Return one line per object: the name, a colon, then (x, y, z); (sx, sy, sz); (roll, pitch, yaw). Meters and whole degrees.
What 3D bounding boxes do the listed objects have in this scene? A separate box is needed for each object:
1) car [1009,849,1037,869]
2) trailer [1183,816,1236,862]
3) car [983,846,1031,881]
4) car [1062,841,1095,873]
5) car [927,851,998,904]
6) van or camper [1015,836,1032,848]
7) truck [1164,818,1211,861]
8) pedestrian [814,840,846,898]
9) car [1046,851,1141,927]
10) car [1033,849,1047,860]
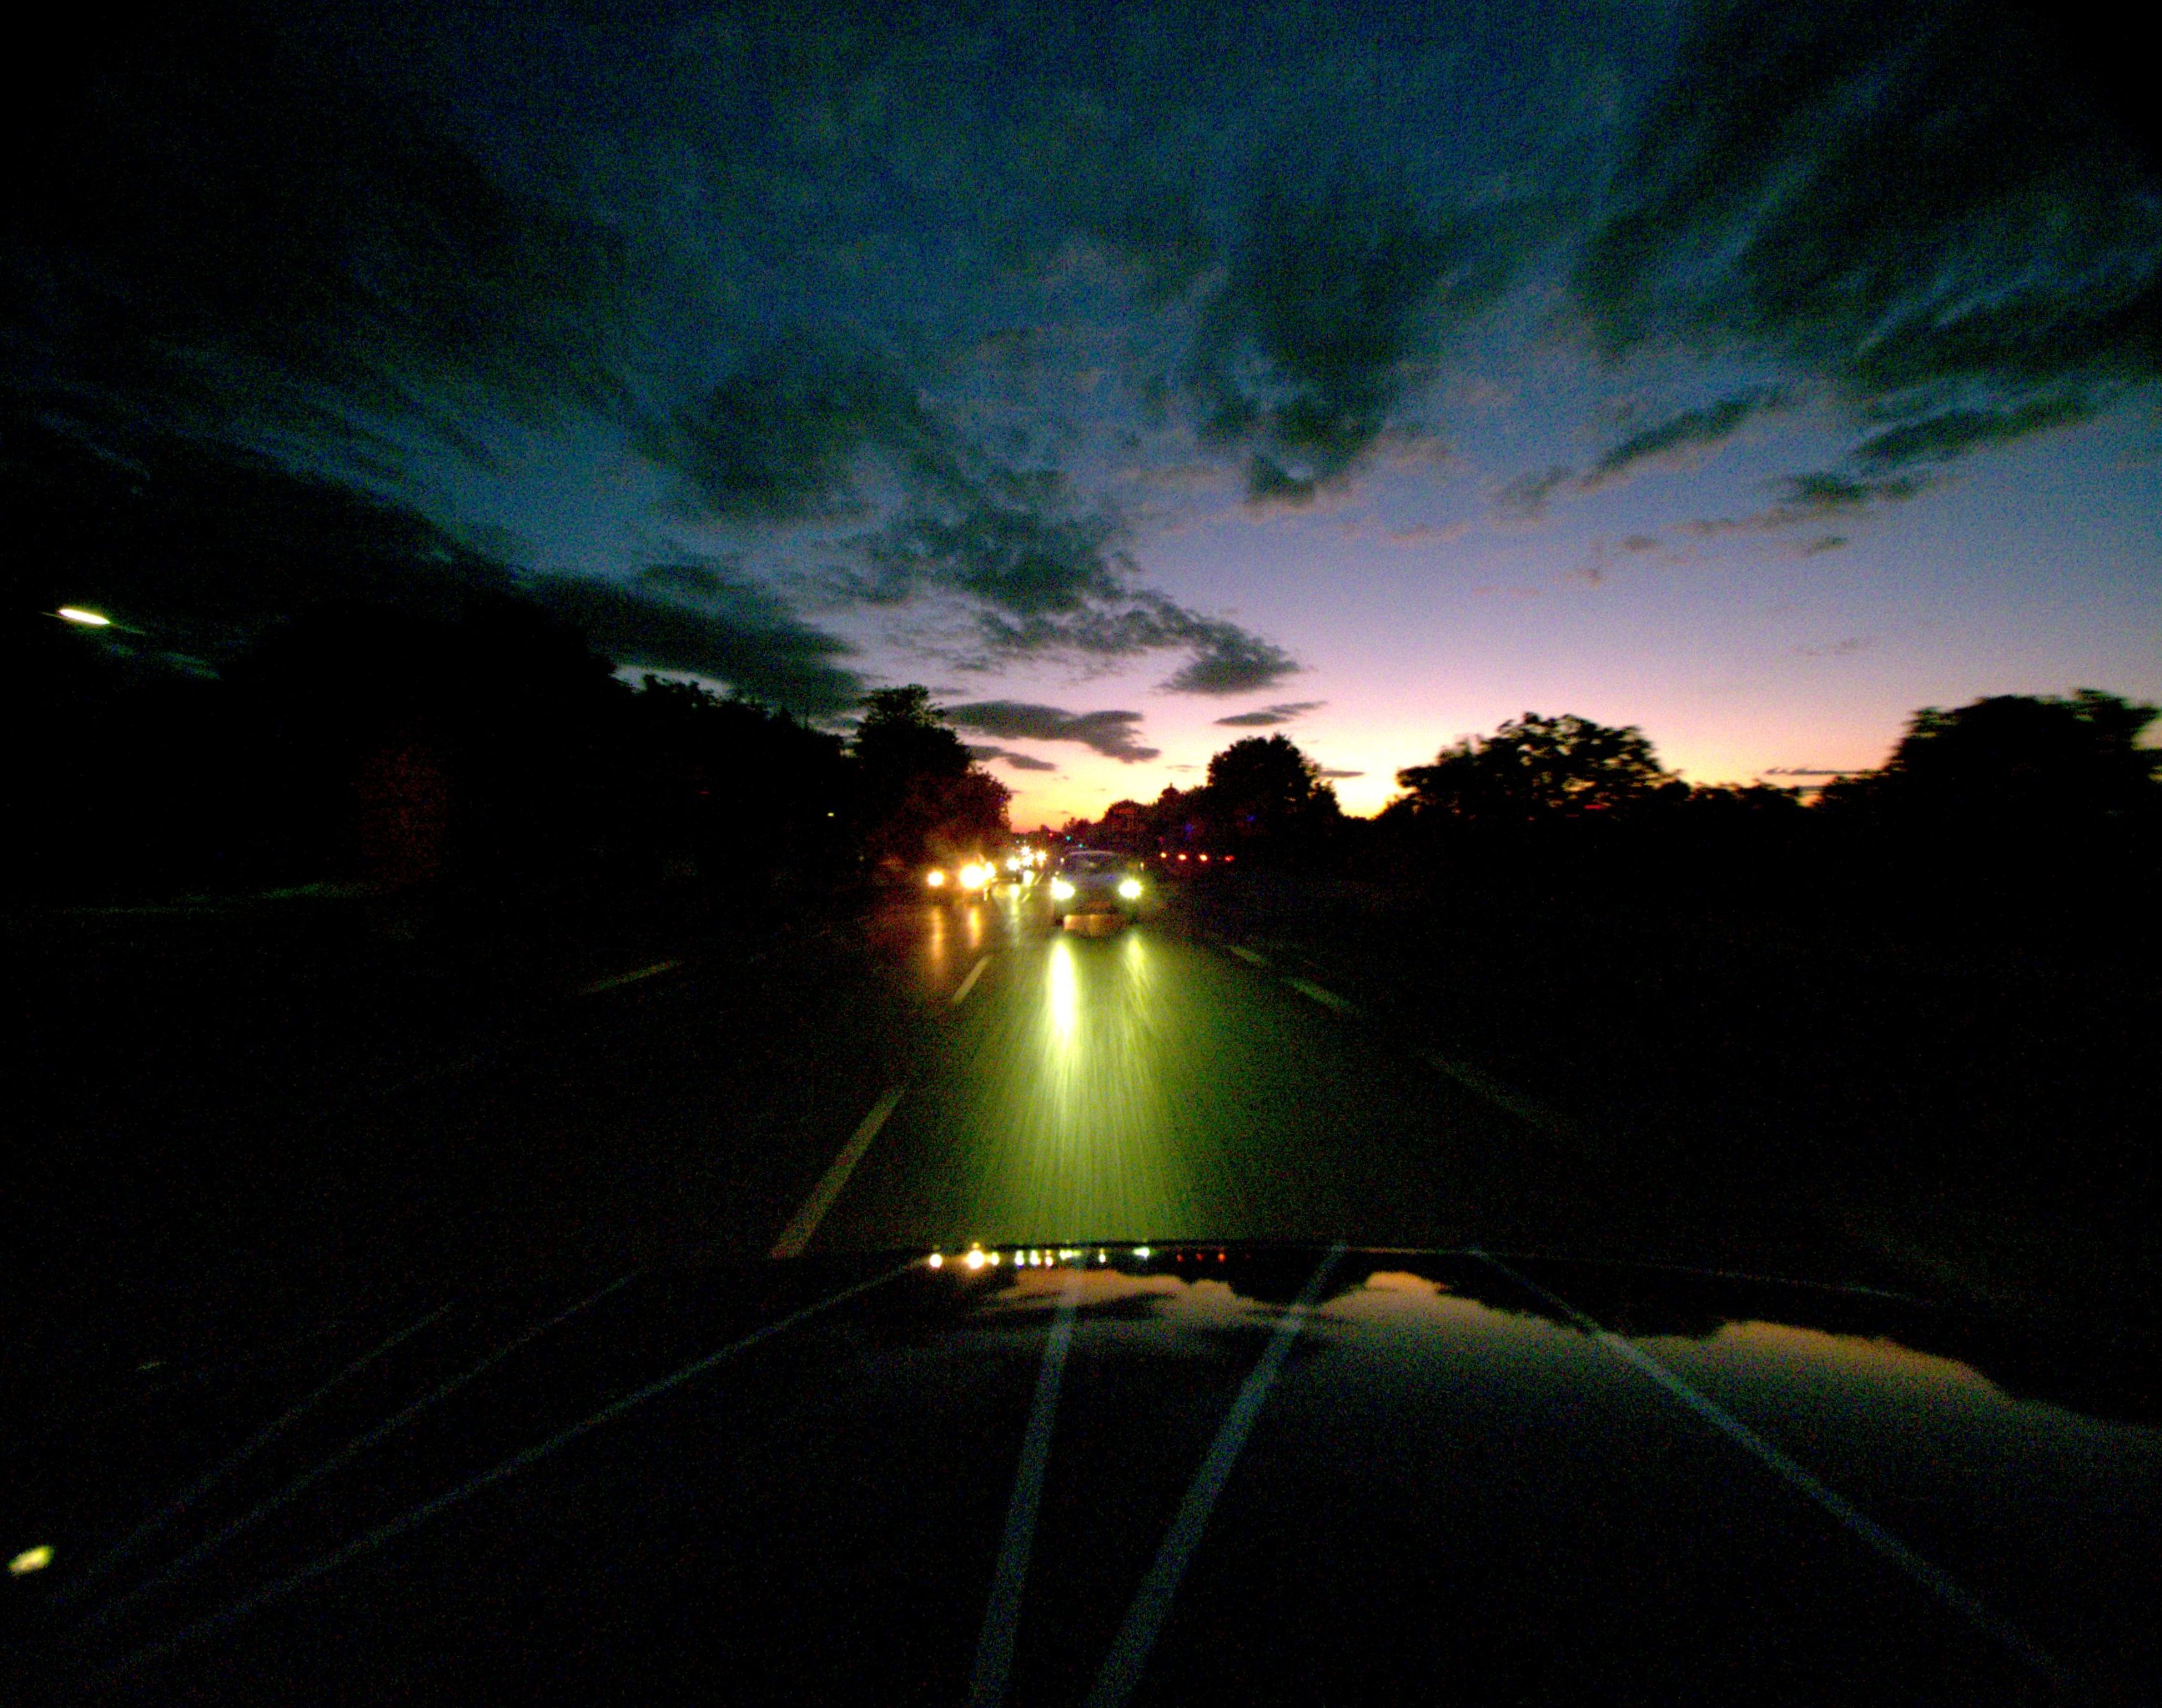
car: (-4.286, 0.331, 56.561); (1.819, 1.360, 3.998); (-2, 1, -2)
trailer: (11.490, -1.311, 68.728); (2.584, 3.920, 8.872); (1, 1, -5)
car: (-3.591, 0.437, 37.591); (1.902, 1.548, 4.300); (-3, 0, -1)
car: (-0.171, 0.170, 44.443); (1.760, 1.692, 4.248); (-2, 0, -1)
car: (-3.702, 0.689, 24.286); (1.663, 1.528, 3.714); (-2, 0, -1)
van or camper: (-15.469, -3.249, 204.930); (3.950, 3.107, 9.939); (0, 1, -2)
truck: (10.801, -1.496, 78.375); (2.733, 4.094, 10.340); (-1, 1, -4)
pedestrian: (-8.925, 0.515, 26.979); (0.782, 2.002, 0.712); (-4, 2, -40)
car: (0.219, 0.703, 17.592); (1.819, 1.428, 4.645); (-3, 0, -1)
car: (-4.913, 0.052, 90.866); (1.607, 1.291, 3.551); (1, 1, -4)
